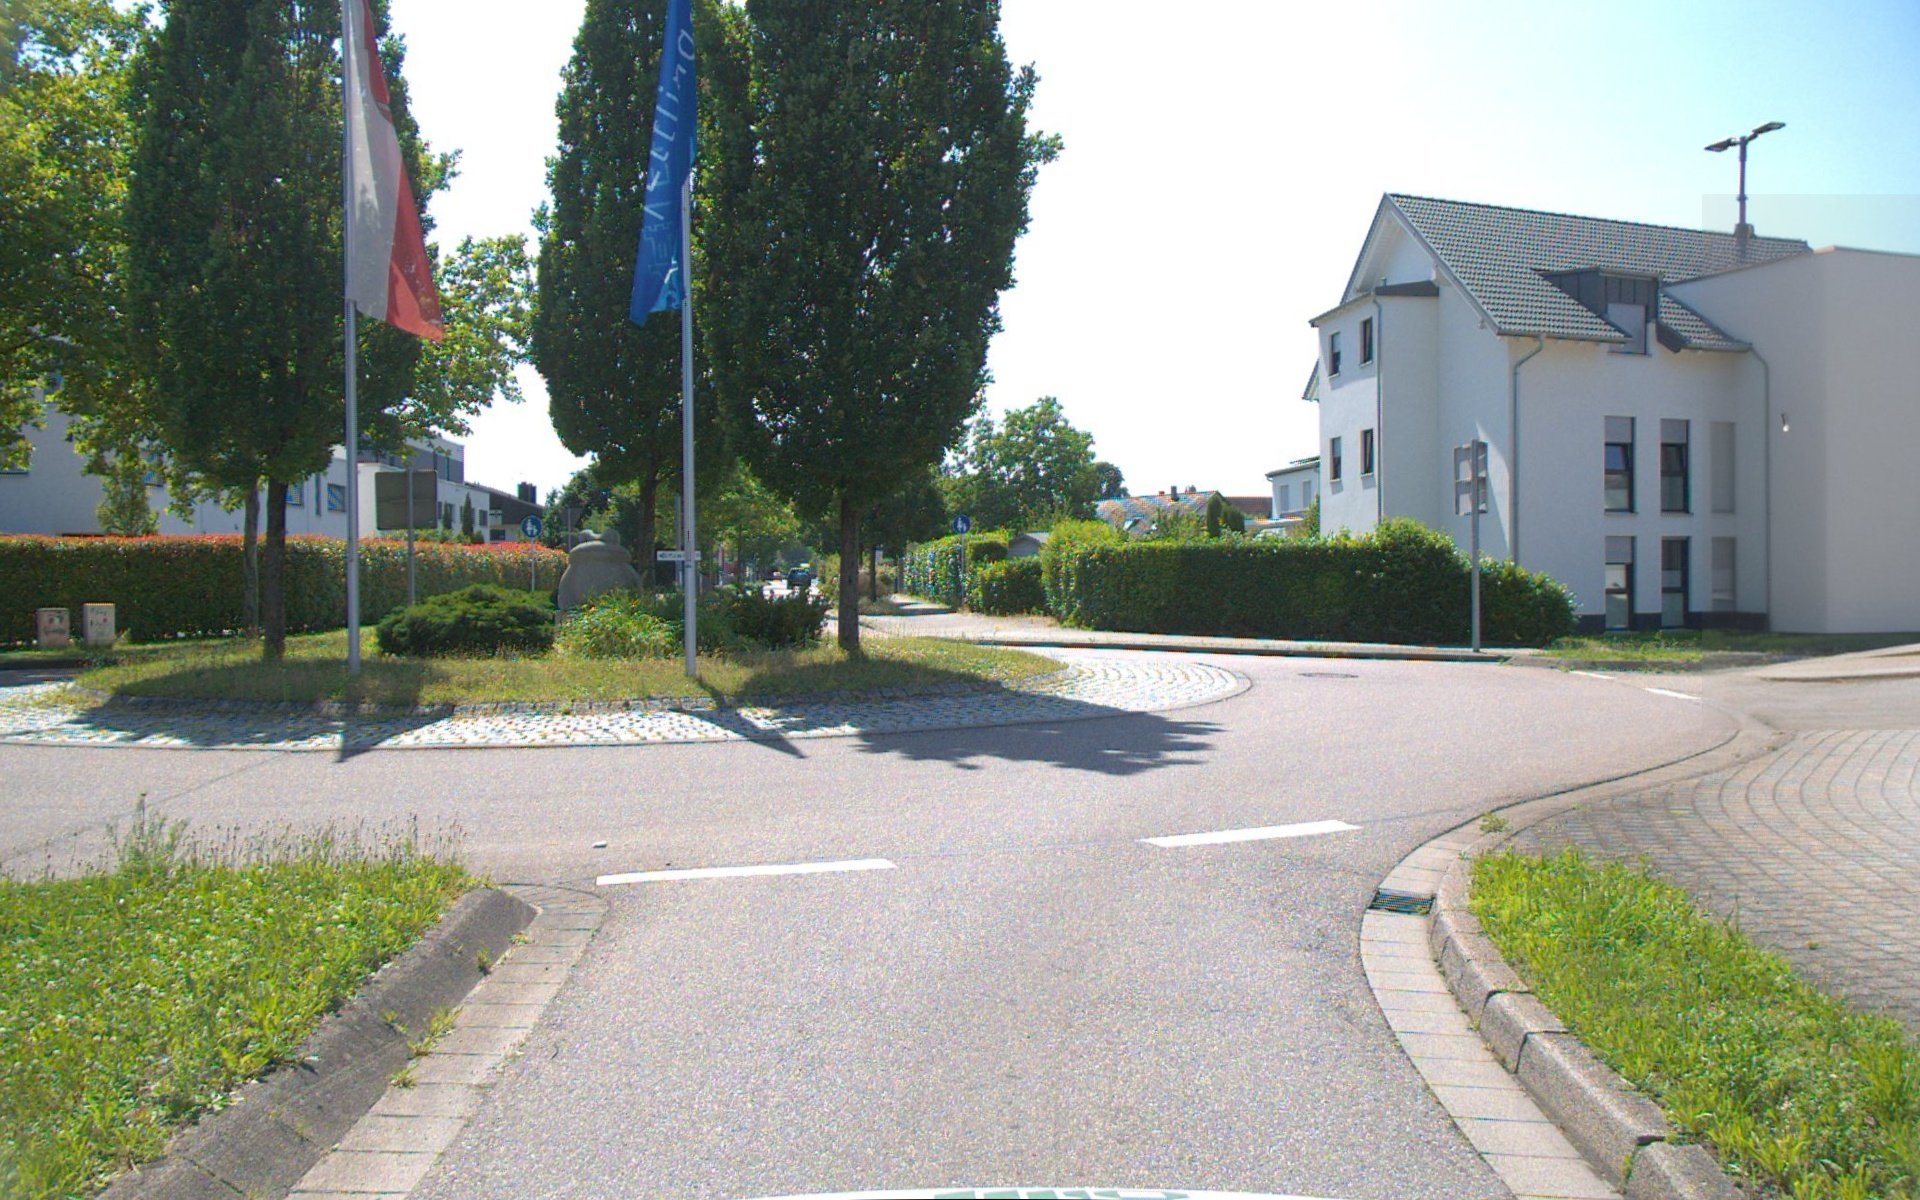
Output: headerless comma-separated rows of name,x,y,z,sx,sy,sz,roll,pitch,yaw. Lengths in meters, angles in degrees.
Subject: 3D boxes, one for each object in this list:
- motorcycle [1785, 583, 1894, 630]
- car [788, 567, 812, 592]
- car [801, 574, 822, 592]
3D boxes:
motorcycle,20.376,0.129,38.361,0.660,1.031,2.353,1,0,-22
car,-12.857,-1.639,133.297,1.886,1.919,3.995,1,0,-5
car,-14.746,-1.669,164.510,1.954,1.801,3.996,1,0,-5
